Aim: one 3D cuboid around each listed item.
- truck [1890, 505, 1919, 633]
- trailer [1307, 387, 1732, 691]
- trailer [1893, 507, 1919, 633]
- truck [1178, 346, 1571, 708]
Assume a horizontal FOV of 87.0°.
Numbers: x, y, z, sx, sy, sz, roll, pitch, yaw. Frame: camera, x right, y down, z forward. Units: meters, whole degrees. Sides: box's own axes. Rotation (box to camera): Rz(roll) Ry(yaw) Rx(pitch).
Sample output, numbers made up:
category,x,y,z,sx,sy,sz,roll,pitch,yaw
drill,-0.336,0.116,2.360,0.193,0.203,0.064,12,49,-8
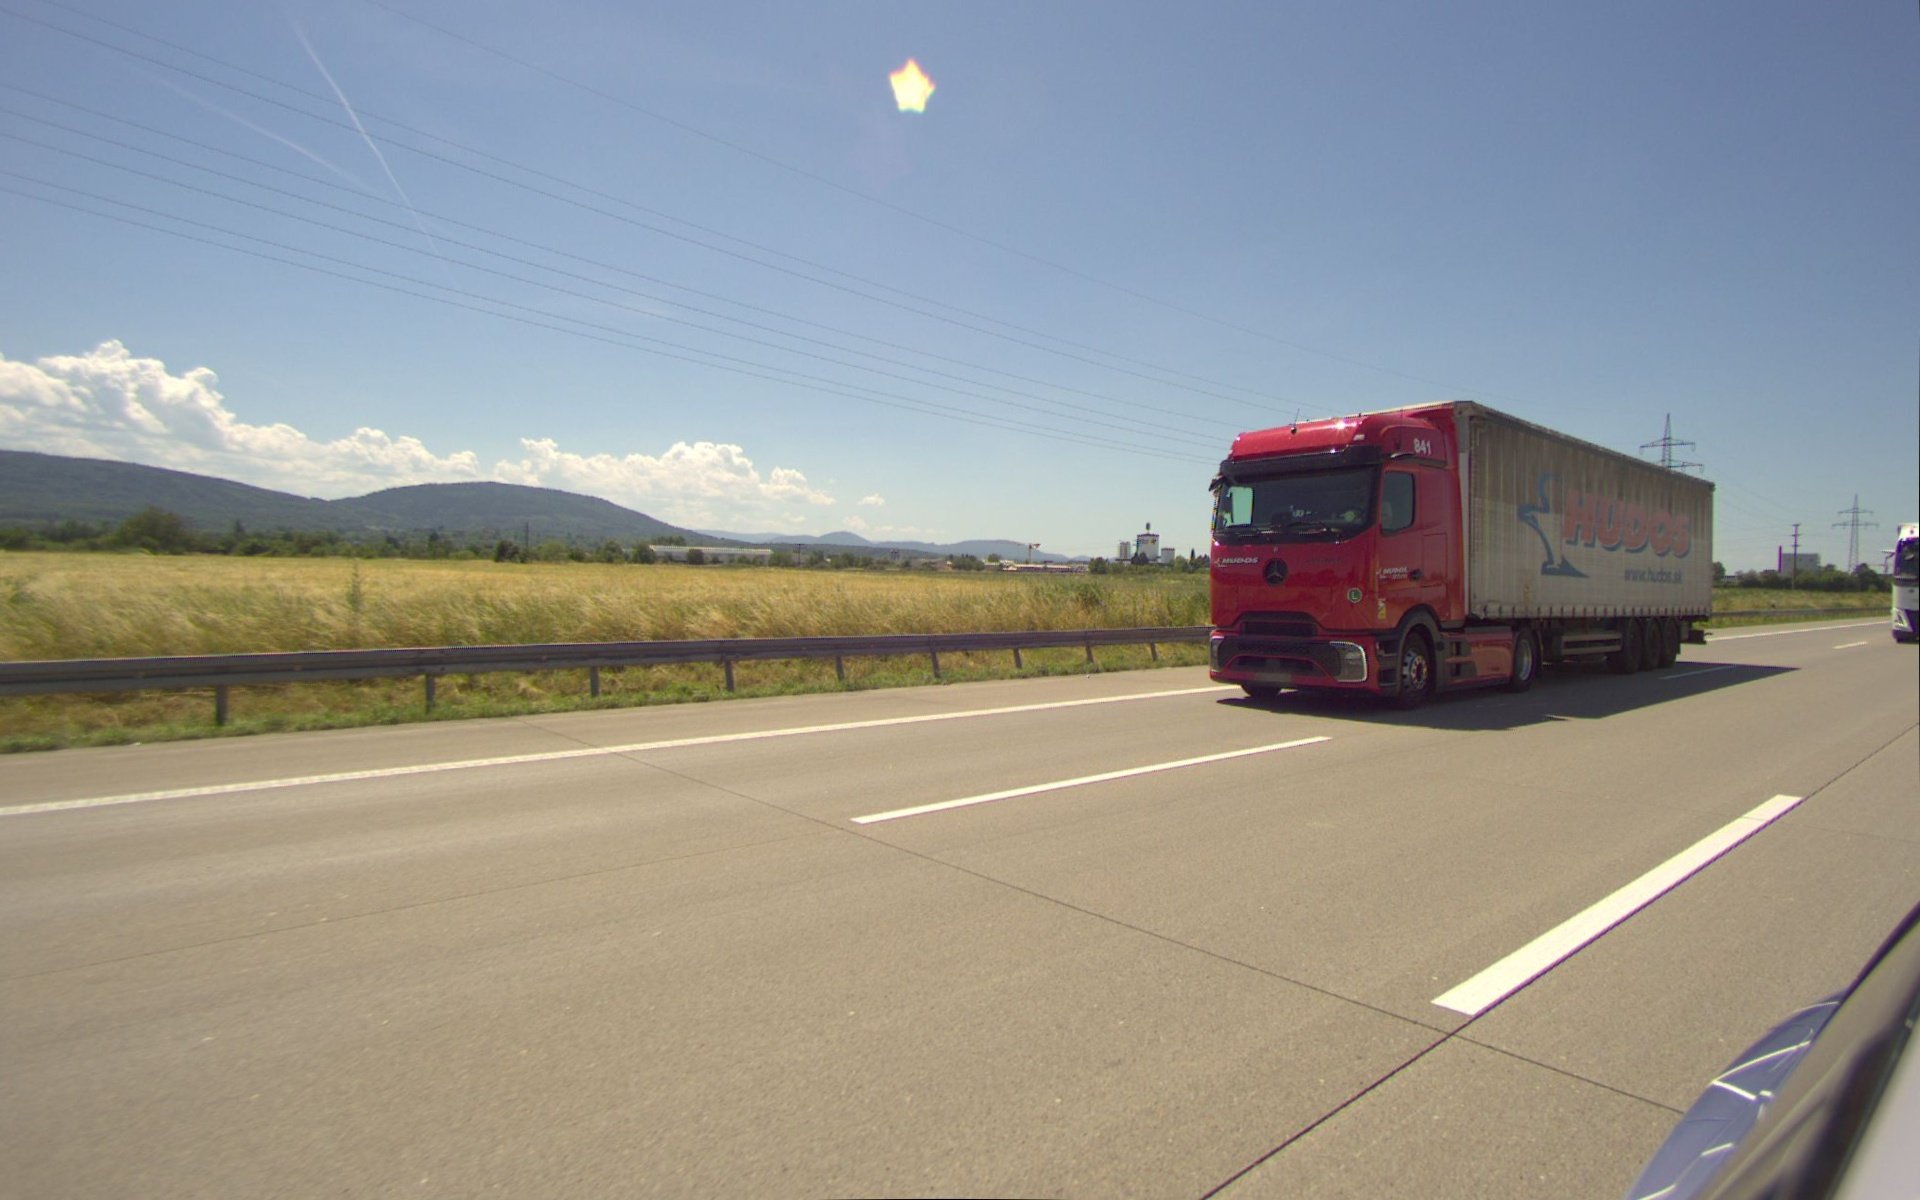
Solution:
category,x,y,z,sx,sy,sz,roll,pitch,yaw
truck,33.259,-0.997,33.551,5.382,4.114,2.989,0,0,-41
trailer,11.396,-0.850,19.354,13.278,4.152,2.878,0,0,-42
trailer,37.345,-0.983,37.100,13.956,4.112,3.023,0,0,-41
truck,6.221,-0.844,14.755,6.163,4.153,2.910,0,0,-42
